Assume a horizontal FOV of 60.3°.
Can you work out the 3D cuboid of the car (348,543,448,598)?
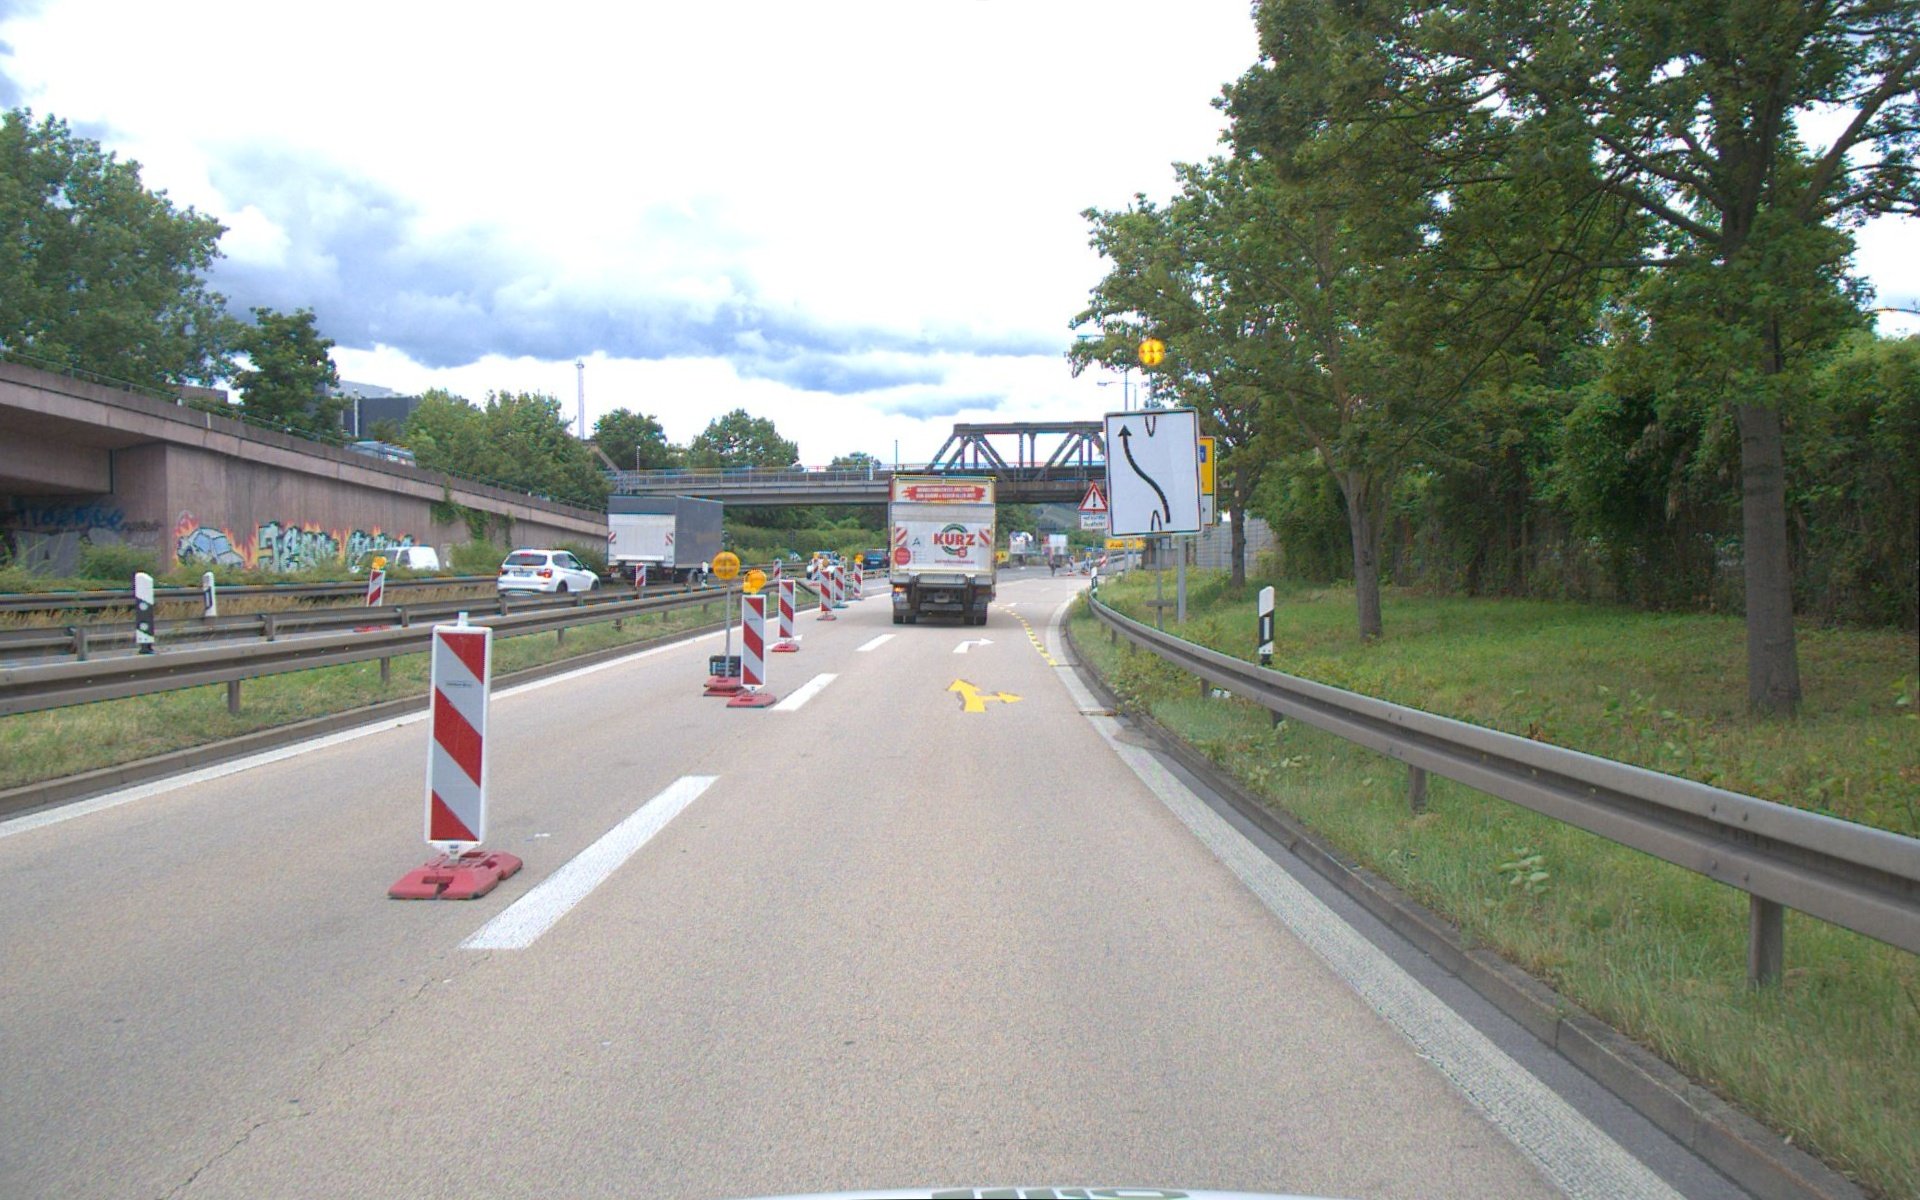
[{"bbox_3d":[-21.630,-1.134,63.849,1.952,2.048,4.712,0,1,4],"label":"car"}]

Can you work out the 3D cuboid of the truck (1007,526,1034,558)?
[{"bbox_3d":[7.728,-7.348,209.452,3.217,3.919,7.669,0,1,4],"label":"truck"}]

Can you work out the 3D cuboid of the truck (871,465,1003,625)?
[{"bbox_3d":[-0.442,-1.360,42.486,2.987,3.737,7.930,0,1,2],"label":"truck"}]

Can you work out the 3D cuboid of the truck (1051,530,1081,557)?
[{"bbox_3d":[14.441,-7.712,226.263,3.826,3.610,8.144,0,1,2],"label":"truck"}]

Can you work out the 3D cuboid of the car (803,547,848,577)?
[{"bbox_3d":[-7.508,-2.138,92.679,1.952,1.646,4.002,0,1,4],"label":"car"}]

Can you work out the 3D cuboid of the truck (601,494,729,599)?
[{"bbox_3d":[-11.001,-1.969,62.423,2.986,3.720,7.400,0,1,4],"label":"truck"}]

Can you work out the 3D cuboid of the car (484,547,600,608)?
[{"bbox_3d":[-12.470,-0.692,49.628,1.951,1.742,4.105,0,1,8],"label":"car"}]

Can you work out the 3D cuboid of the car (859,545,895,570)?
[{"bbox_3d":[-5.451,-2.802,109.515,1.952,1.646,4.002,0,1,4],"label":"car"}]
